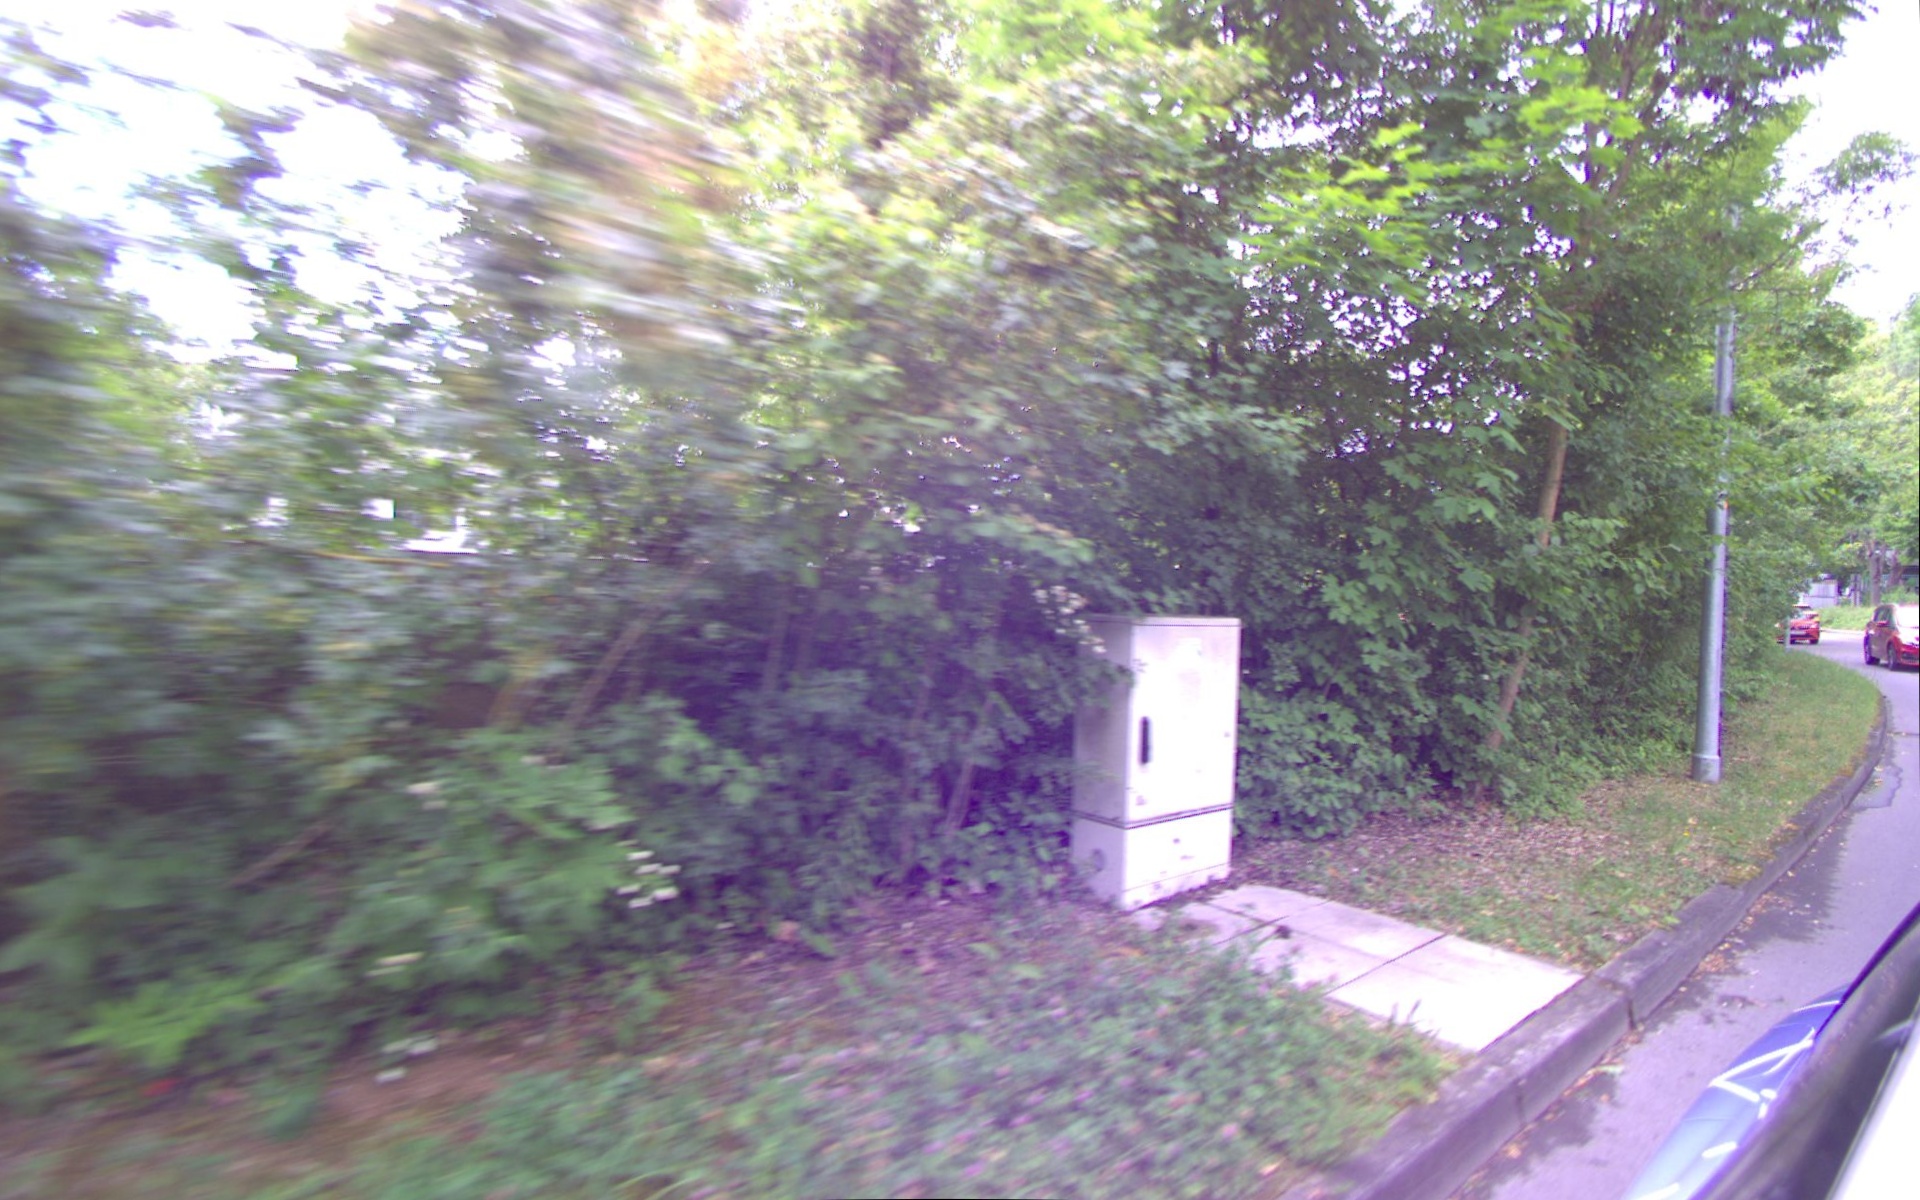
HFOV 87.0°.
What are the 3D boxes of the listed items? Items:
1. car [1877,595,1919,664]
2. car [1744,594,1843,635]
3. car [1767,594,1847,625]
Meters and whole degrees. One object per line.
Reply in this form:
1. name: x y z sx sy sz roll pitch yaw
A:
1. car: 24.383 0.679 25.098 1.935 1.578 4.300 0 1 36
2. car: 32.995 0.541 40.208 1.927 1.551 4.055 0 0 23
3. car: 43.691 0.464 52.296 1.830 1.510 3.976 1 1 19
